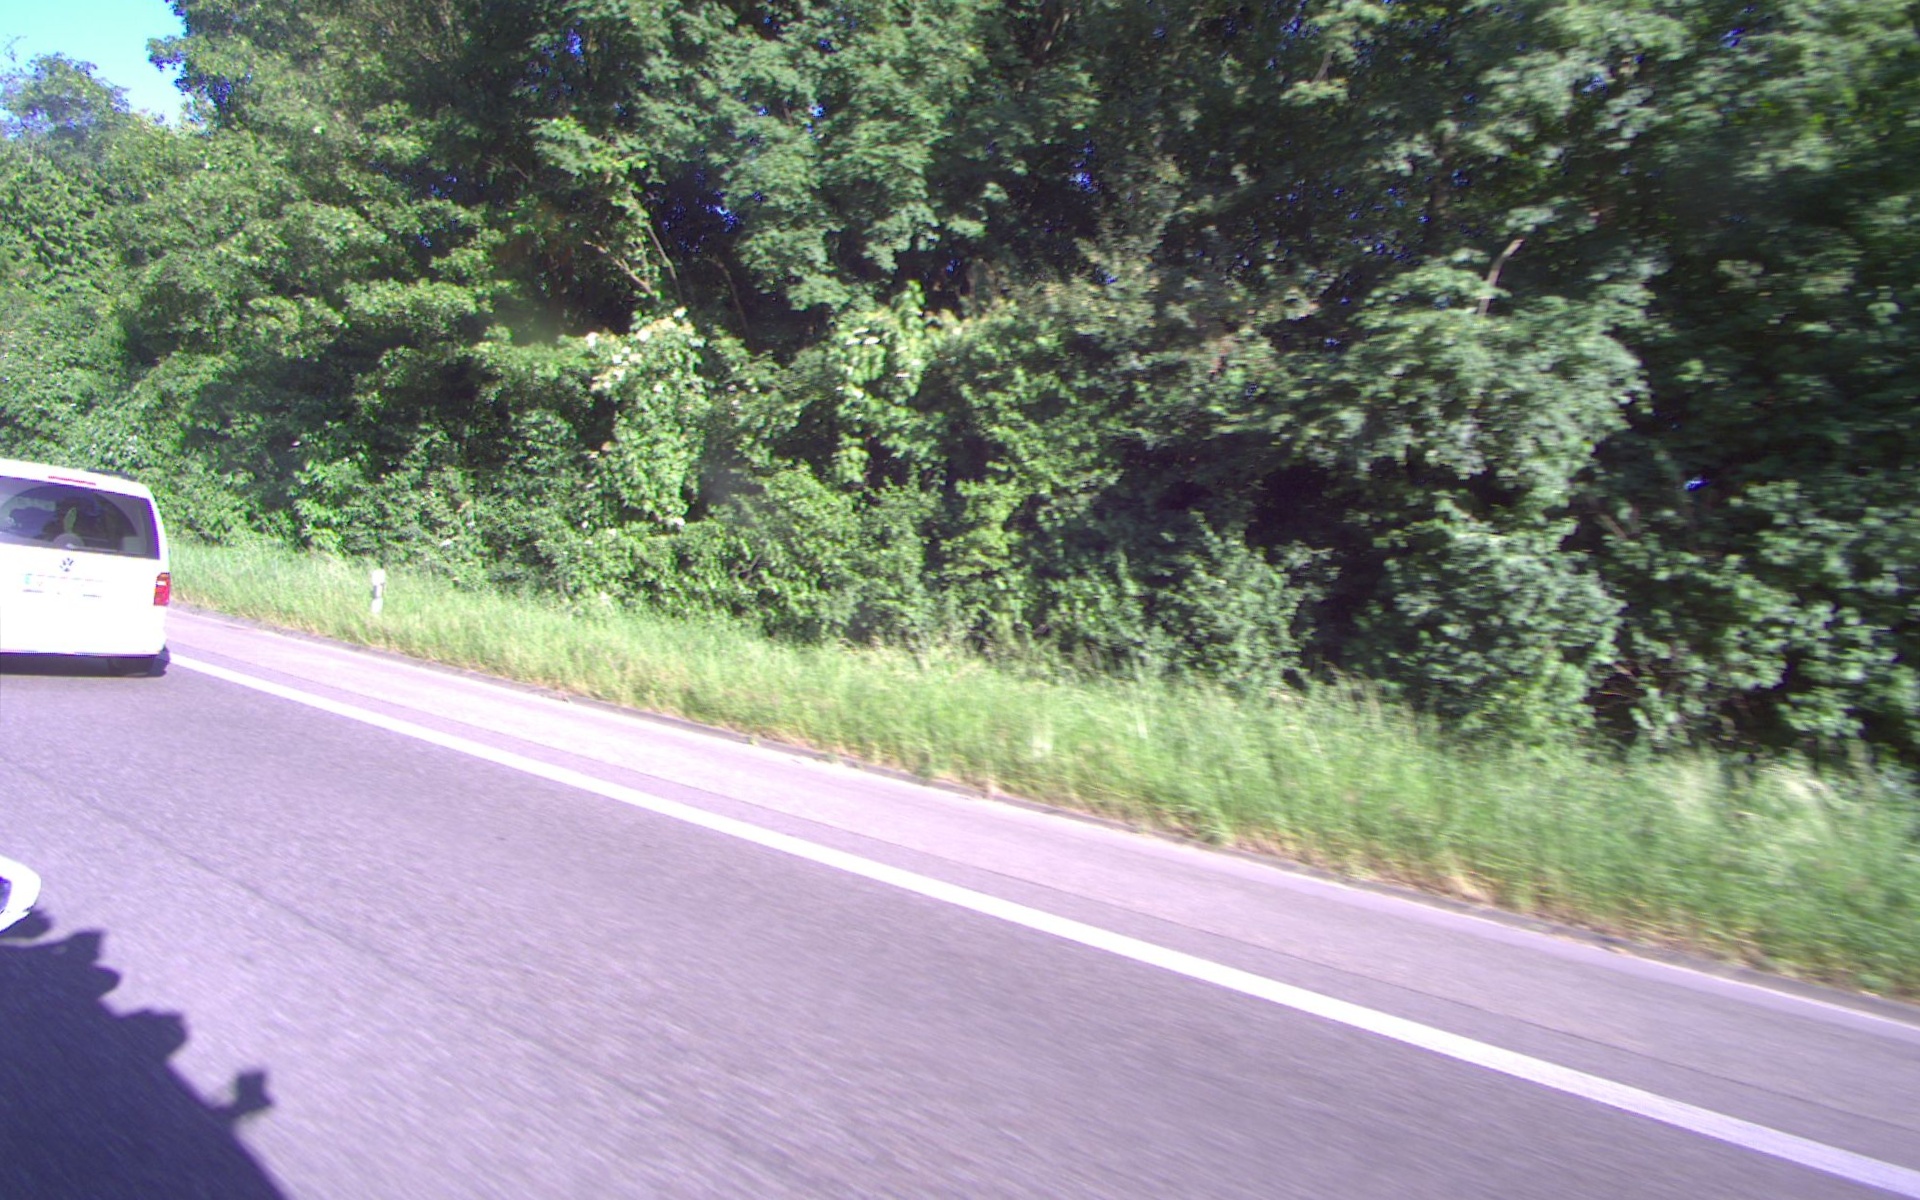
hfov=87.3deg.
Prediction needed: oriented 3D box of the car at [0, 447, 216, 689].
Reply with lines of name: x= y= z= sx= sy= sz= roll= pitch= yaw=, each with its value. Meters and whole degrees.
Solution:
car: x=-9.130 y=-0.414 z=9.377 sx=4.511 sy=1.834 sz=1.802 roll=6 pitch=-2 yaw=31
